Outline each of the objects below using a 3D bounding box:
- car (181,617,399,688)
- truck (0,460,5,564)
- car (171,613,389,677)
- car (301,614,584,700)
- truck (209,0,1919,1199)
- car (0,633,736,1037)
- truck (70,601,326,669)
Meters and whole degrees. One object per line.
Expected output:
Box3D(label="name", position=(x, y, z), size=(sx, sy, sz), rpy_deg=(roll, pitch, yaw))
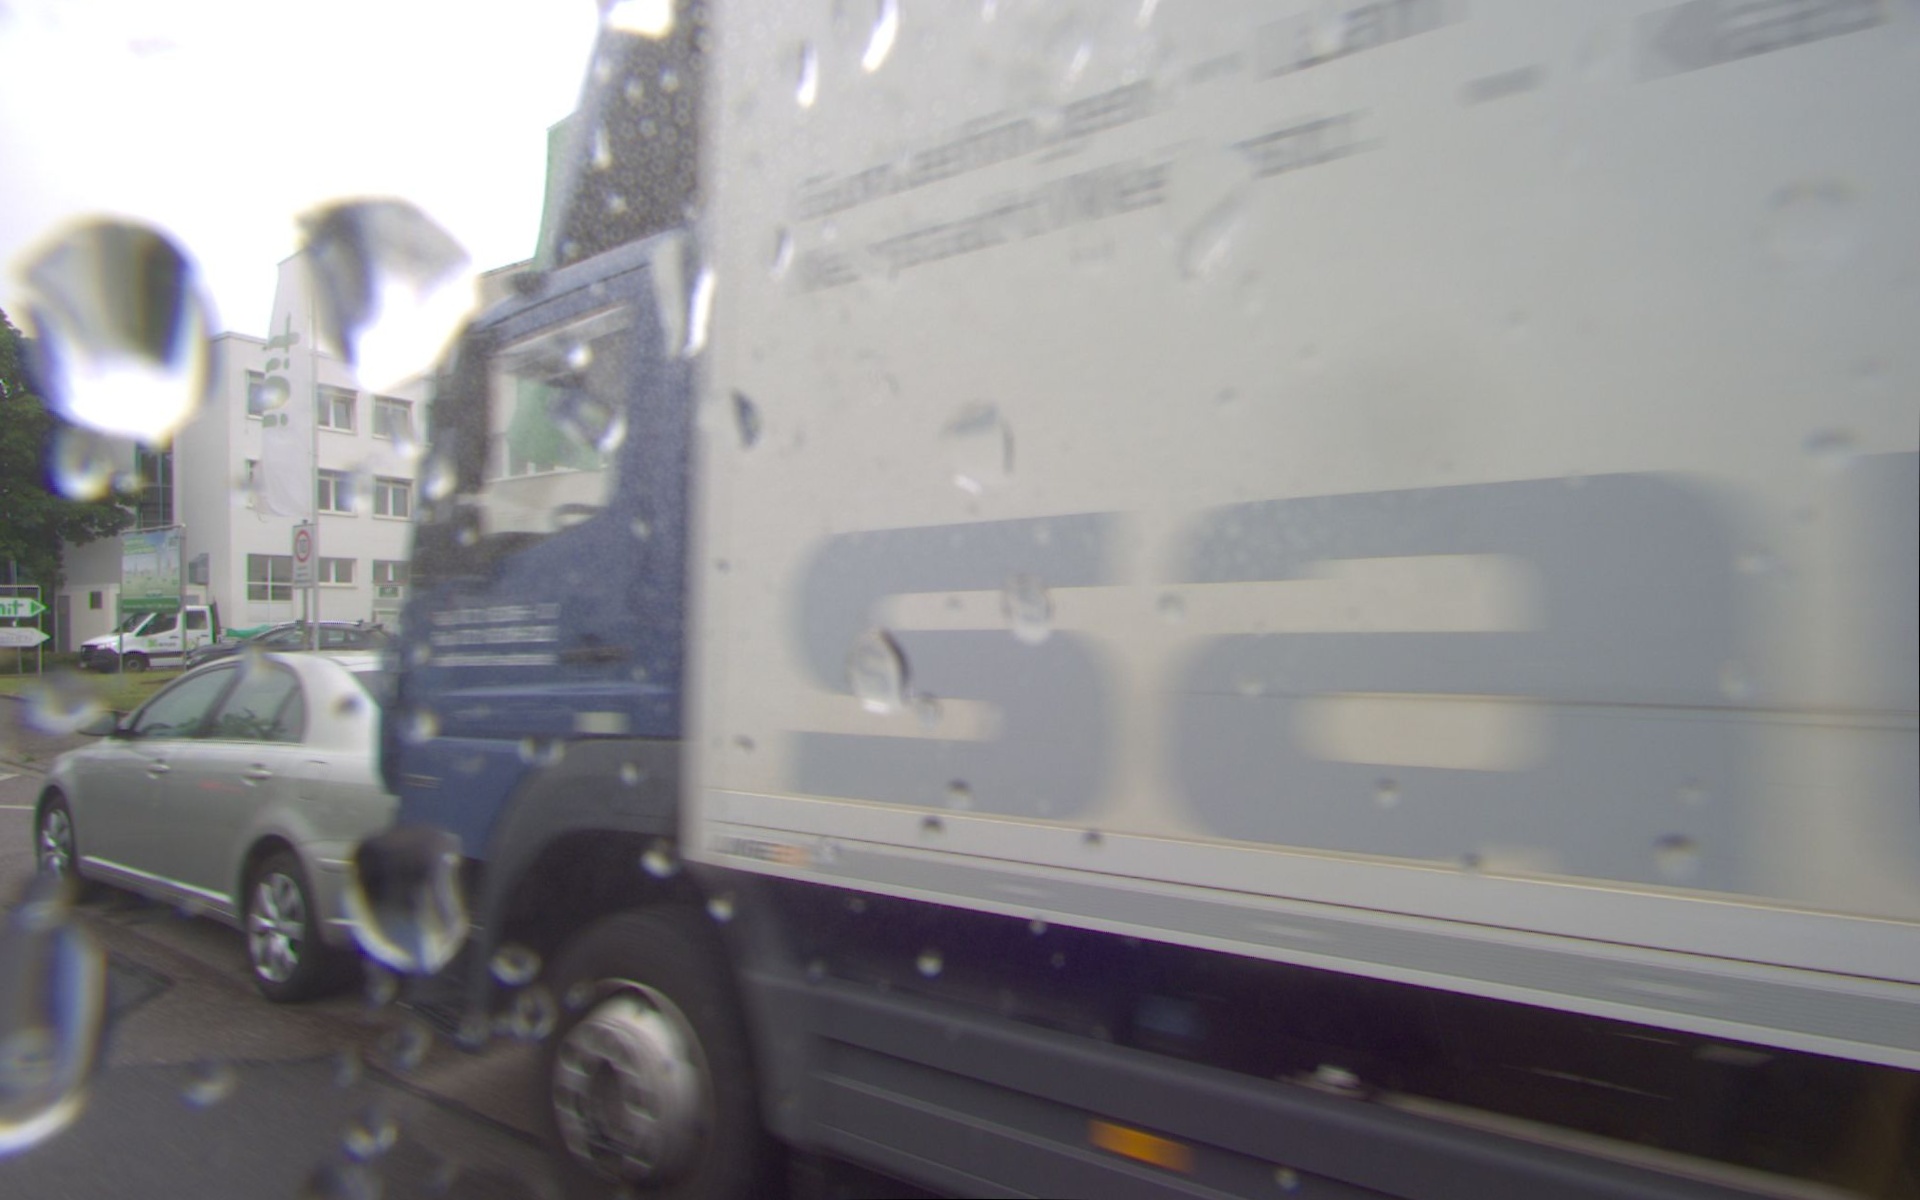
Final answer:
Box3D(label="car", position=(-15.028, 1.174, 22.695), size=(3.716, 1.414, 1.724), rpy_deg=(3, -2, -18))
Box3D(label="truck", position=(-16.824, -0.068, 14.482), size=(7.644, 3.655, 2.736), rpy_deg=(-1, -3, 34))
Box3D(label="car", position=(-16.605, 1.107, 24.678), size=(4.078, 1.434, 1.687), rpy_deg=(2, 0, -18))
Box3D(label="car", position=(-9.669, 1.027, 19.146), size=(4.597, 1.487, 1.787), rpy_deg=(0, -1, -20))
Box3D(label="truck", position=(2.318, -0.296, 1.821), size=(9.167, 3.836, 2.738), rpy_deg=(-1, -3, 33))
Box3D(label="car", position=(-3.463, 0.938, 5.631), size=(4.282, 1.460, 1.794), rpy_deg=(-1, -1, 32))
Box3D(label="truck", position=(-26.514, 1.173, 35.243), size=(2.065, 2.167, 6.908), rpy_deg=(-1, -1, 33))
